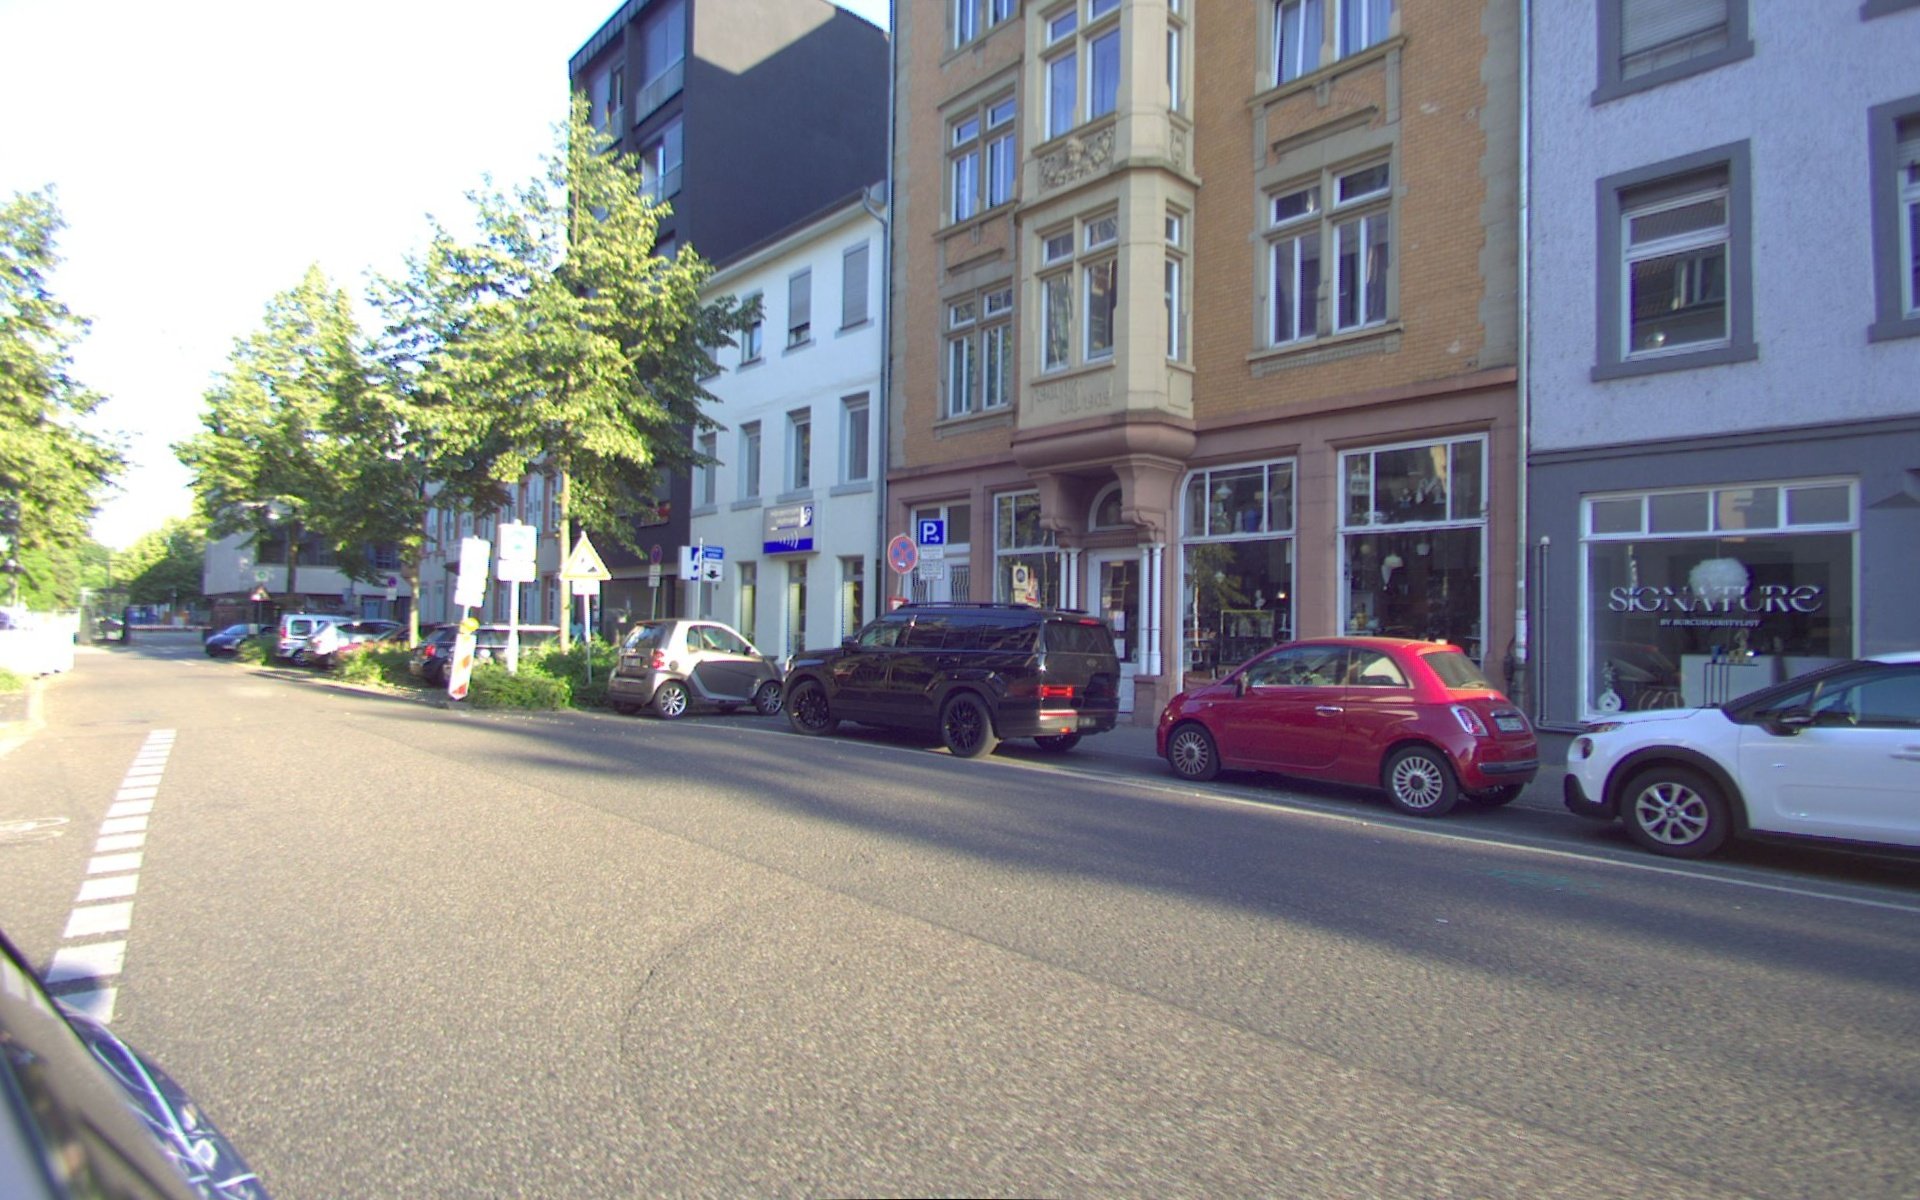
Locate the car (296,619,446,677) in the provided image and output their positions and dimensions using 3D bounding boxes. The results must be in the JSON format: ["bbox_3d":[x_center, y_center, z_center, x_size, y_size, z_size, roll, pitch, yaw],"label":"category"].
[{"bbox_3d":[-18.408,1.531,31.703,1.859,1.683,3.642,-1,-5,45],"label":"car"}]

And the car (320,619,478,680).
[{"bbox_3d":[-16.533,1.486,29.918,1.859,1.683,3.642,-1,-5,45],"label":"car"}]

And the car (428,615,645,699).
[{"bbox_3d":[-9.240,1.275,22.292,1.859,1.683,3.949,-1,-5,45],"label":"car"}]

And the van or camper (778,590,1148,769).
[{"bbox_3d":[-0.099,0.883,12.512,4.459,1.821,1.869,-1,-3,42],"label":"van or camper"}]

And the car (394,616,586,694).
[{"bbox_3d":[-11.054,1.319,23.940,1.859,1.683,3.642,-1,-5,45],"label":"car"}]

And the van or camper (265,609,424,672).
[{"bbox_3d":[-21.684,1.472,35.776,1.859,2.021,4.389,-1,-5,45],"label":"van or camper"}]

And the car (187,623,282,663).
[{"bbox_3d":[-31.413,1.886,43.939,1.828,1.580,3.704,2,-3,-10],"label":"car"}]

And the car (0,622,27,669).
[{"bbox_3d":[-36.254,1.614,36.304,3.937,1.697,1.894,3,-3,-41],"label":"car"}]

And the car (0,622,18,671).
[{"bbox_3d":[-34.608,1.537,34.159,3.937,1.697,1.894,3,-3,-41],"label":"car"}]

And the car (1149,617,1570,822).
[{"bbox_3d":[3.650,0.996,9.646,1.507,1.582,3.426,4,-4,-41],"label":"car"}]

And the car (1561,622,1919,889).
[{"bbox_3d":[6.347,0.970,6.541,1.641,1.585,3.939,5,-4,-42],"label":"car"}]

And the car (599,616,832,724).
[{"bbox_3d":[-3.958,1.114,16.724,1.508,1.588,3.430,-1,-3,45],"label":"car"}]
